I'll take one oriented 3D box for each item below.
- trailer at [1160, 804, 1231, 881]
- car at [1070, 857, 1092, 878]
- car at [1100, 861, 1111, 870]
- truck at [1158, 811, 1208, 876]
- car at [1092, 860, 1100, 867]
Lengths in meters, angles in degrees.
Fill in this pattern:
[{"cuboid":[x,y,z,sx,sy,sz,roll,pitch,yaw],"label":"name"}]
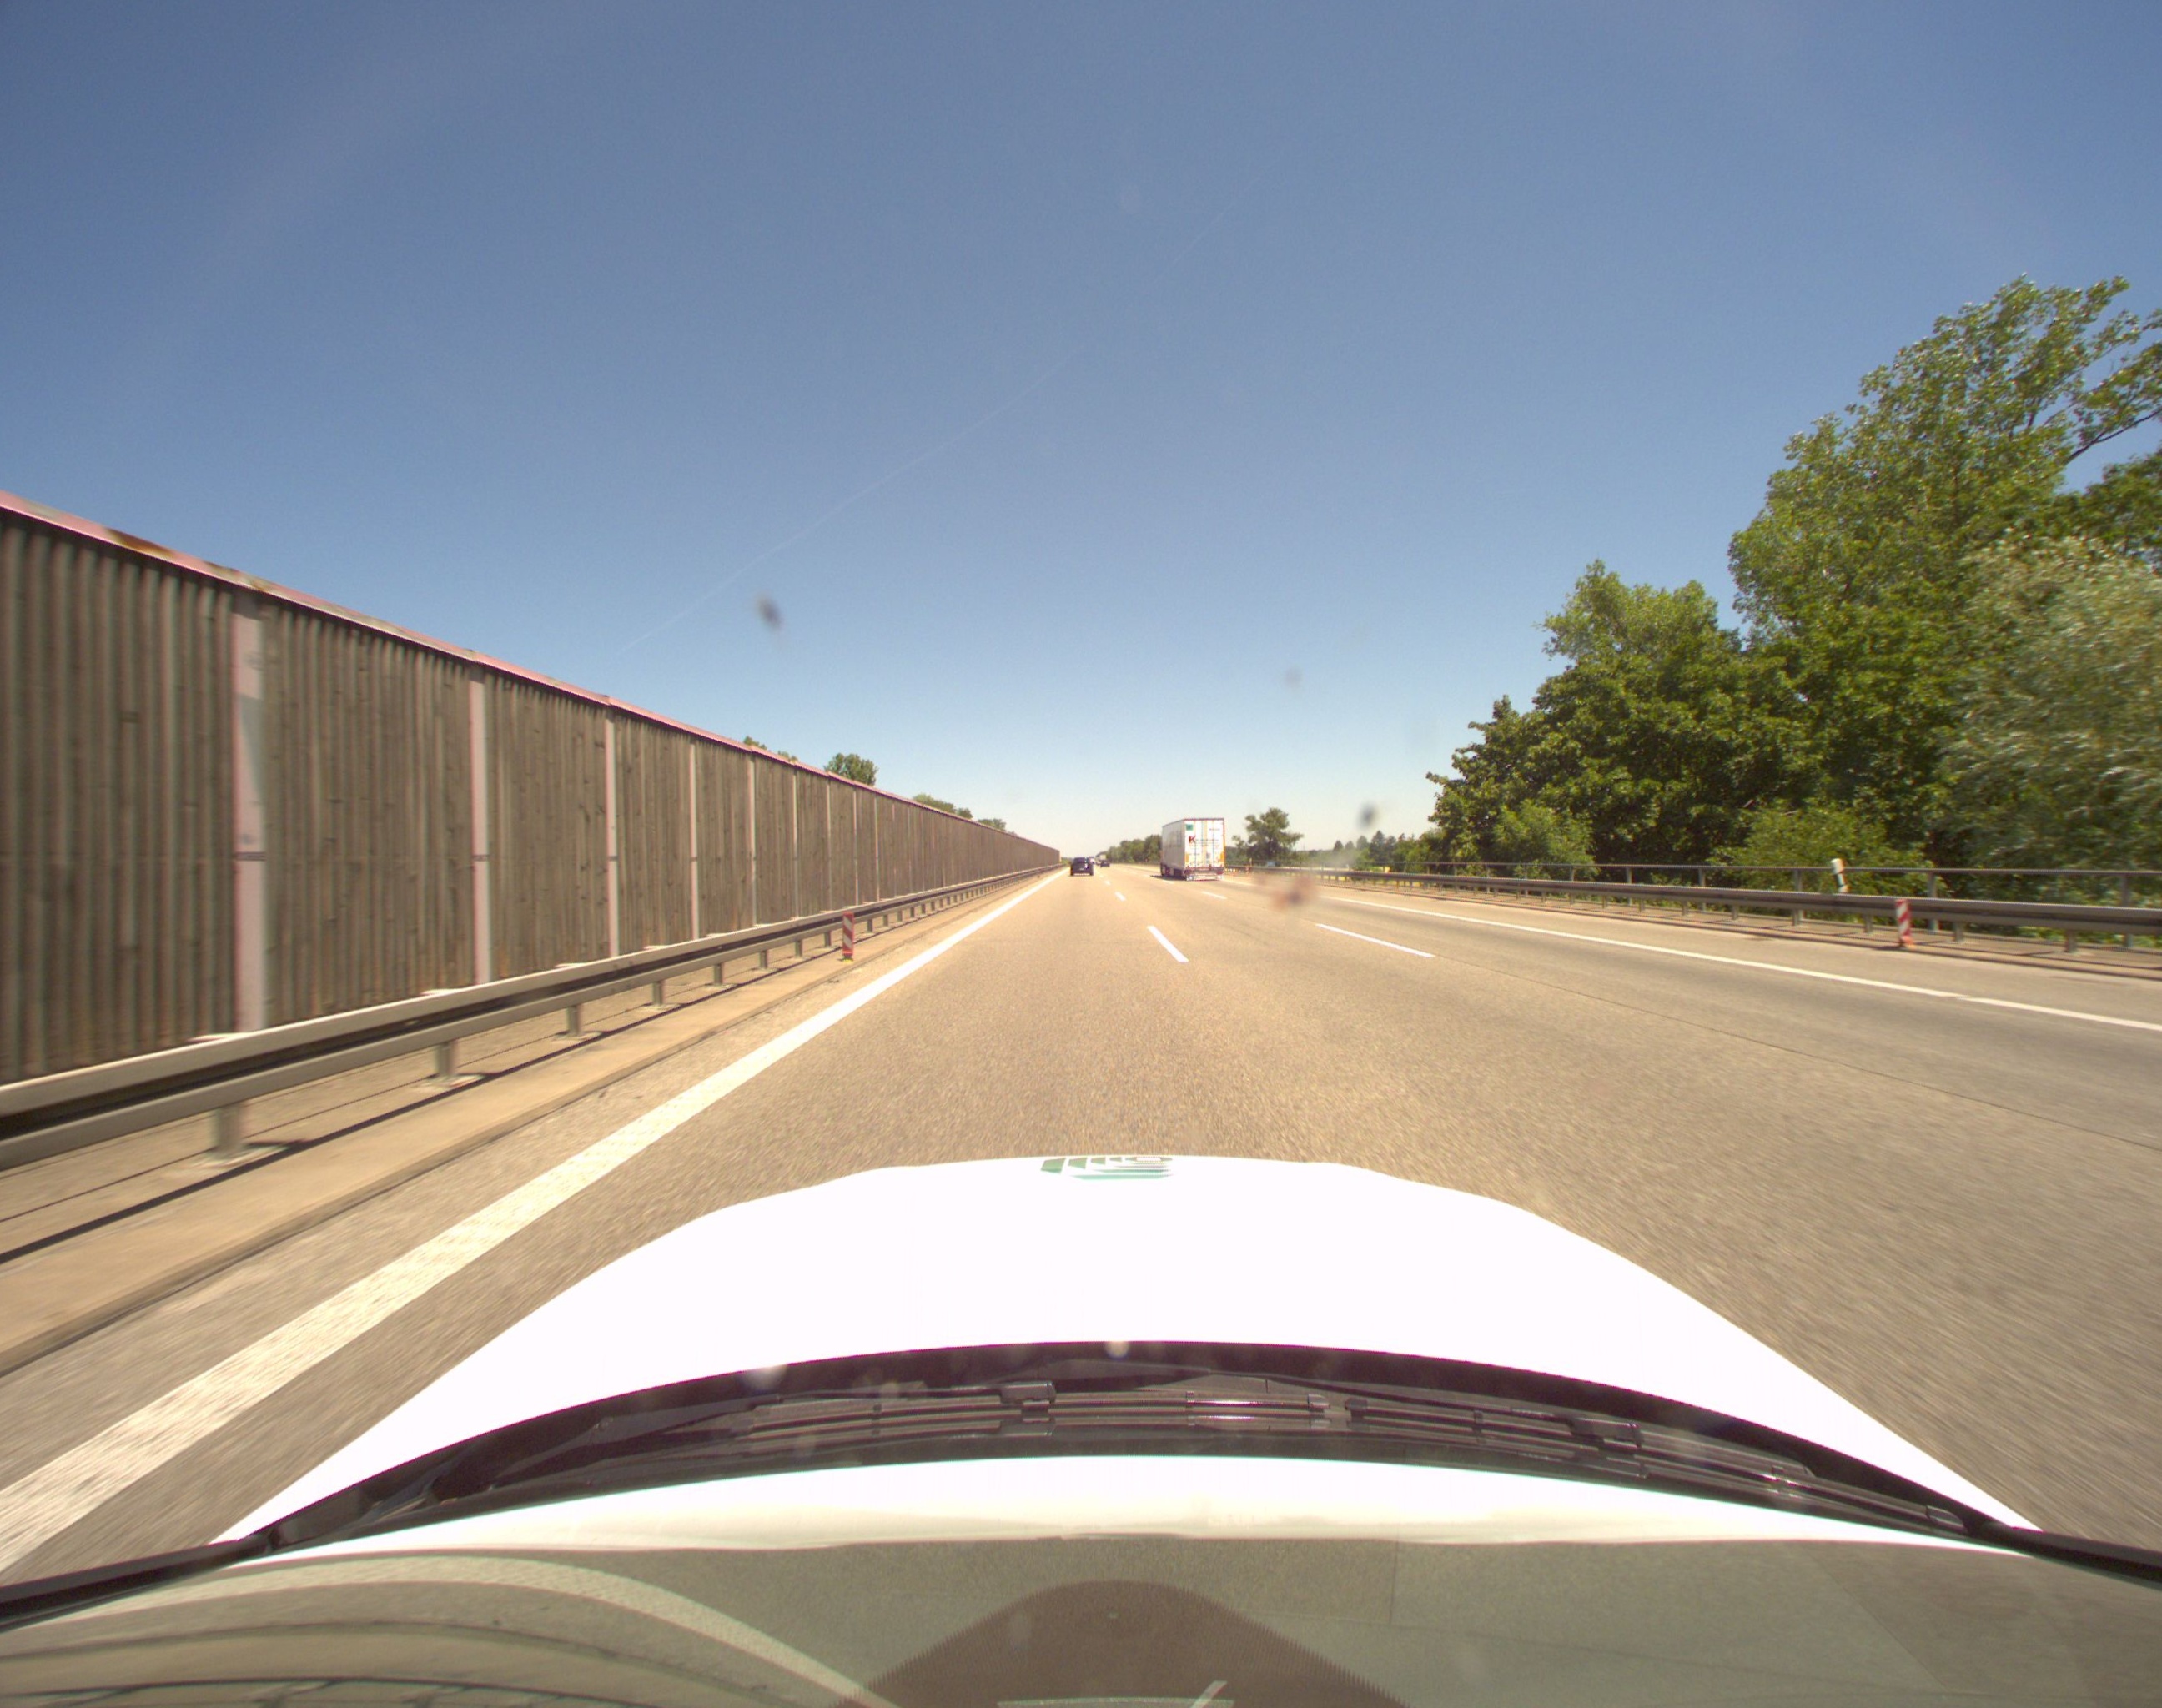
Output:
[{"cuboid":[7.922,-0.718,58.459,3.258,4.837,14.030,-1,0,1],"label":"trailer"},{"cuboid":[-0.028,1.152,71.511,1.875,1.792,3.998,-1,0,-1],"label":"car"},{"cuboid":[4.459,2.051,147.178,1.896,1.584,4.304,-2,-1,1],"label":"car"},{"cuboid":[8.021,-0.792,64.904,3.223,4.889,6.972,-1,0,1],"label":"truck"},{"cuboid":[3.650,2.201,197.233,1.896,1.584,4.304,-2,-1,1],"label":"car"}]
